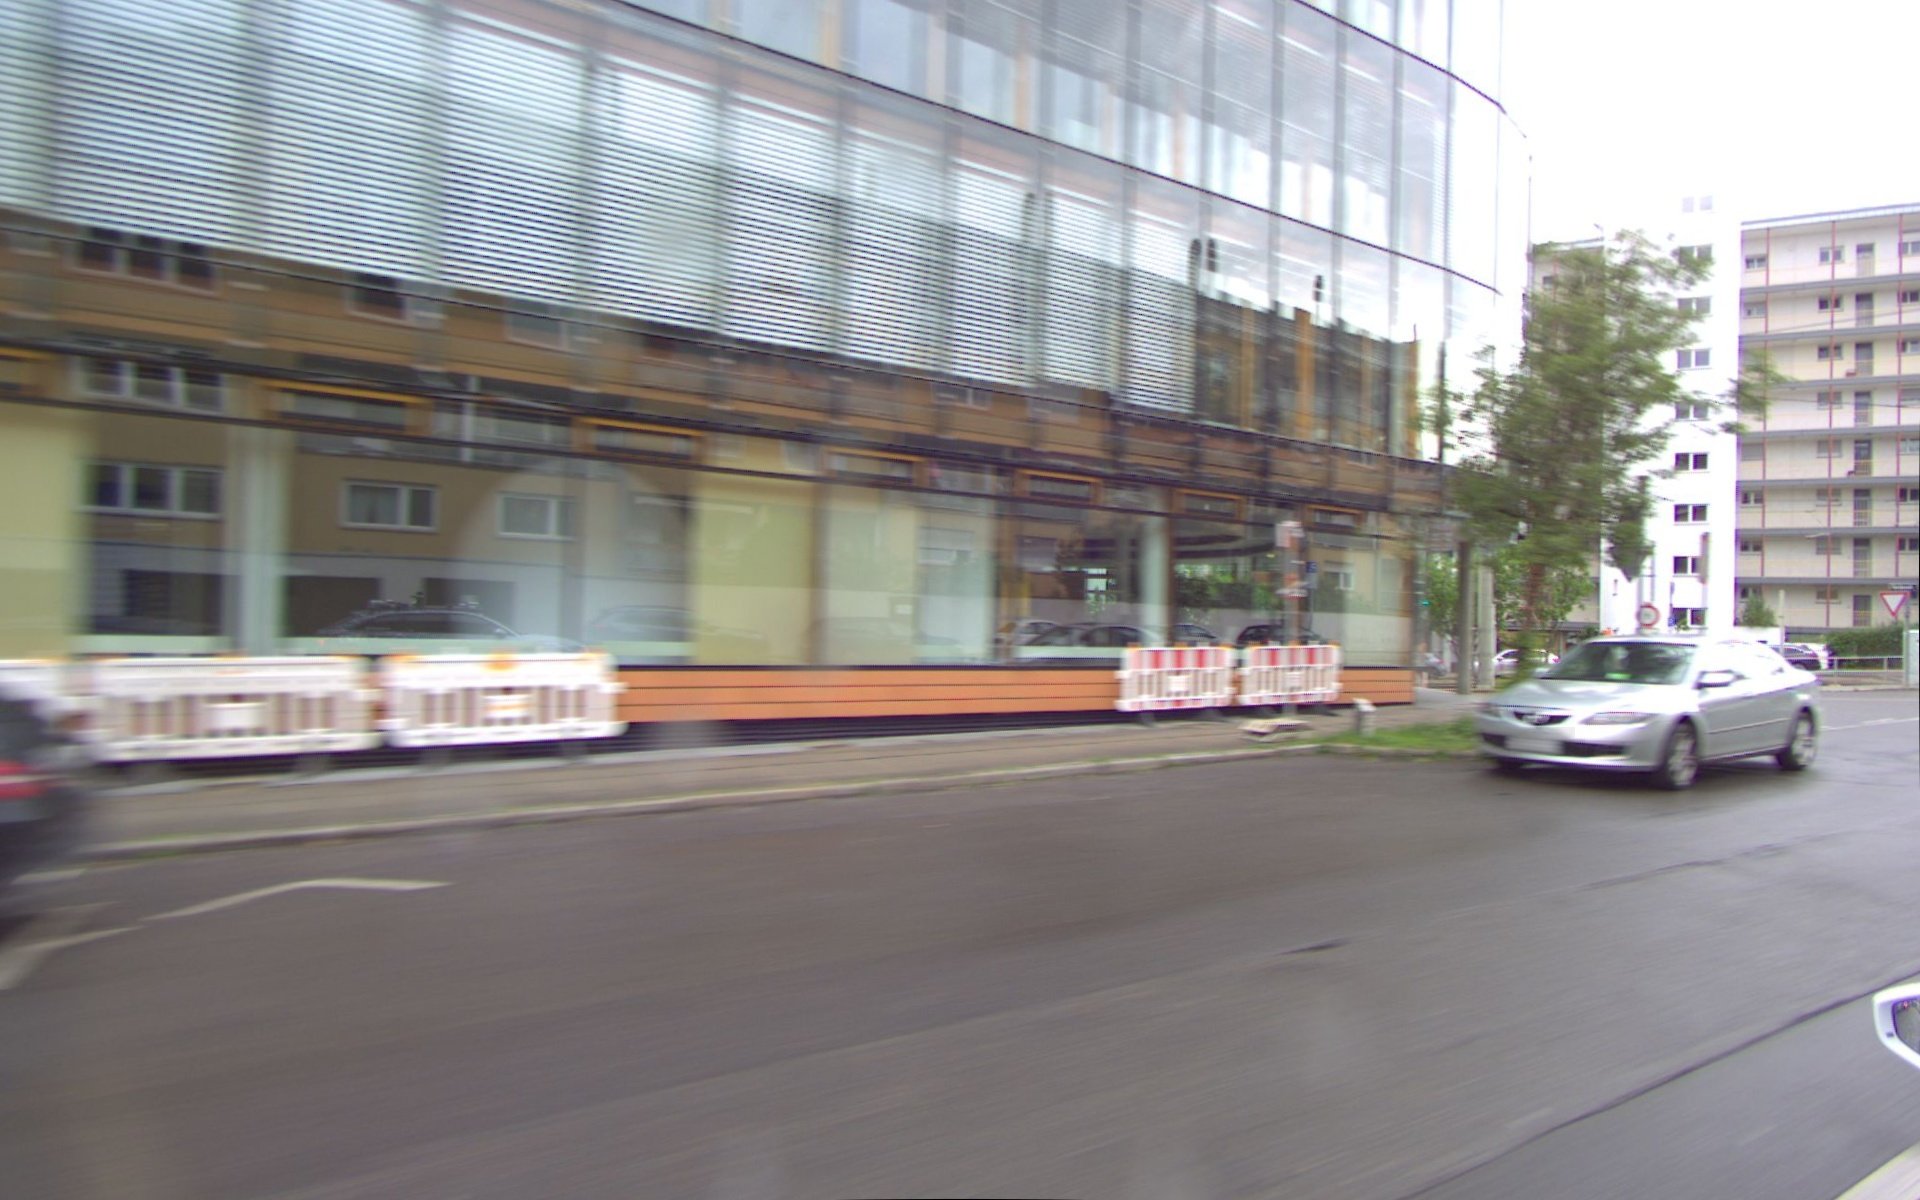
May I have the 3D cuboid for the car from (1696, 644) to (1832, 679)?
[{"bbox_3d":[36.831,2.824,46.138,4.403,1.480,1.875,-2,-3,17],"label":"car"}]

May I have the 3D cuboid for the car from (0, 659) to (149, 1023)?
[{"bbox_3d":[-6.037,1.054,3.934,4.286,1.483,1.712,0,-2,-34],"label":"car"}]

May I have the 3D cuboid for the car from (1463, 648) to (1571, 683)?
[{"bbox_3d":[27.228,3.211,49.275,4.226,1.528,2.000,-3,-1,17],"label":"car"}]

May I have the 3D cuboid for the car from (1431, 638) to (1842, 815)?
[{"bbox_3d":[7.225,1.163,10.612,4.591,1.413,1.849,0,-1,-31],"label":"car"}]

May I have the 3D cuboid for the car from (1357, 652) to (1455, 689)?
[{"bbox_3d":[22.360,3.542,50.519,4.227,1.528,2.000,-4,-1,17],"label":"car"}]

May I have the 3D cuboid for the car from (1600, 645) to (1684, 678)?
[{"bbox_3d":[32.259,2.910,47.600,2.835,1.411,1.811,-2,-1,16],"label":"car"}]

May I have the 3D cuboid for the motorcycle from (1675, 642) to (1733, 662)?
[{"bbox_3d":[37.432,2.623,50.550,2.191,0.953,0.779,-1,1,18],"label":"motorcycle"}]
